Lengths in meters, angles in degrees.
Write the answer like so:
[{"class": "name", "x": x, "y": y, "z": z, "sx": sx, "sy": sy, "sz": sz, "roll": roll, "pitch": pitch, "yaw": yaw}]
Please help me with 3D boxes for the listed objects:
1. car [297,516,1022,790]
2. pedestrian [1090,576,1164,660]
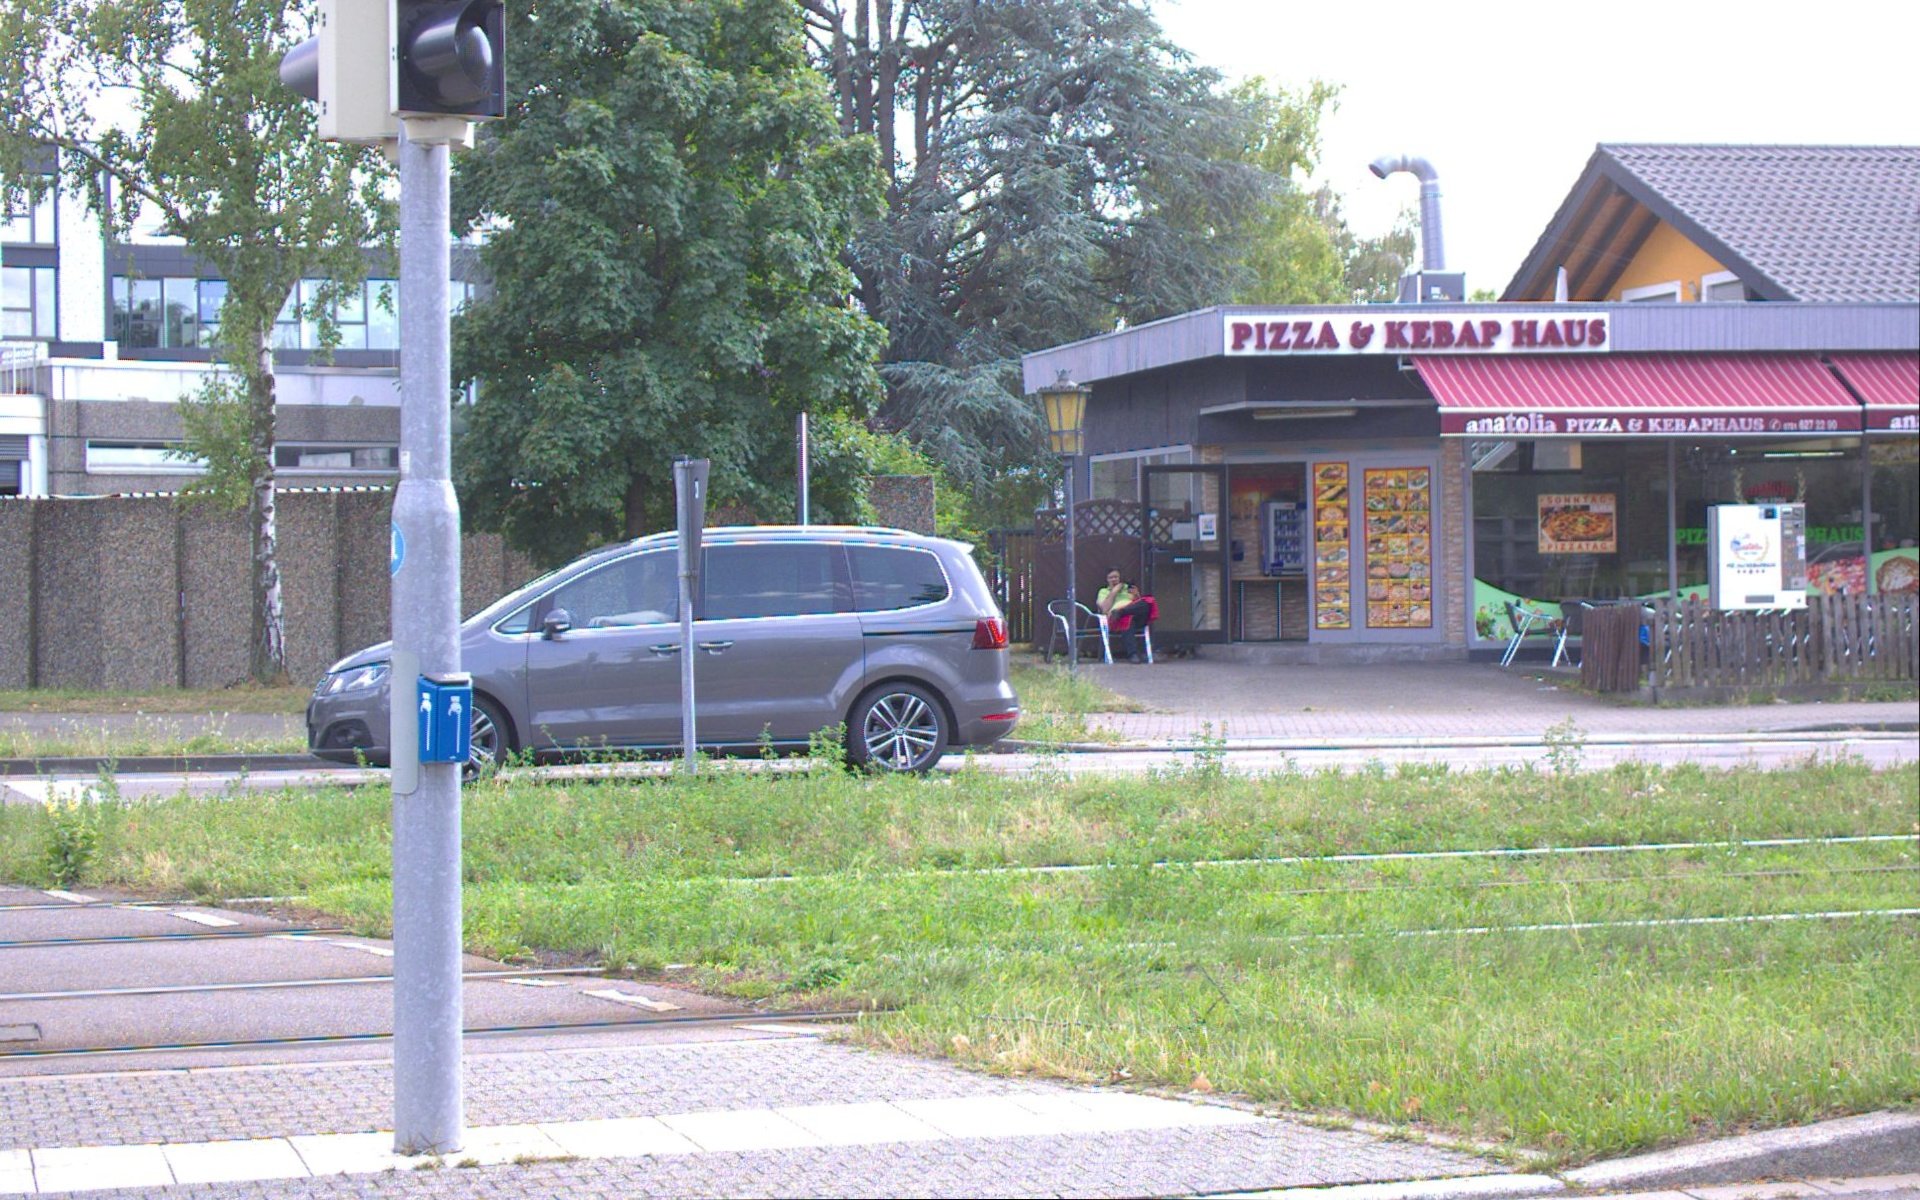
[{"class": "car", "x": -2.107, "y": 0.318, "z": 23.482, "sx": 4.723, "sy": 1.716, "sz": 2.001, "roll": -1, "pitch": 1, "yaw": -11}, {"class": "pedestrian", "x": 1.908, "y": 0.199, "z": 39.341, "sx": 0.725, "sy": 0.926, "sz": 0.777, "roll": 0, "pitch": 2, "yaw": -7}]
